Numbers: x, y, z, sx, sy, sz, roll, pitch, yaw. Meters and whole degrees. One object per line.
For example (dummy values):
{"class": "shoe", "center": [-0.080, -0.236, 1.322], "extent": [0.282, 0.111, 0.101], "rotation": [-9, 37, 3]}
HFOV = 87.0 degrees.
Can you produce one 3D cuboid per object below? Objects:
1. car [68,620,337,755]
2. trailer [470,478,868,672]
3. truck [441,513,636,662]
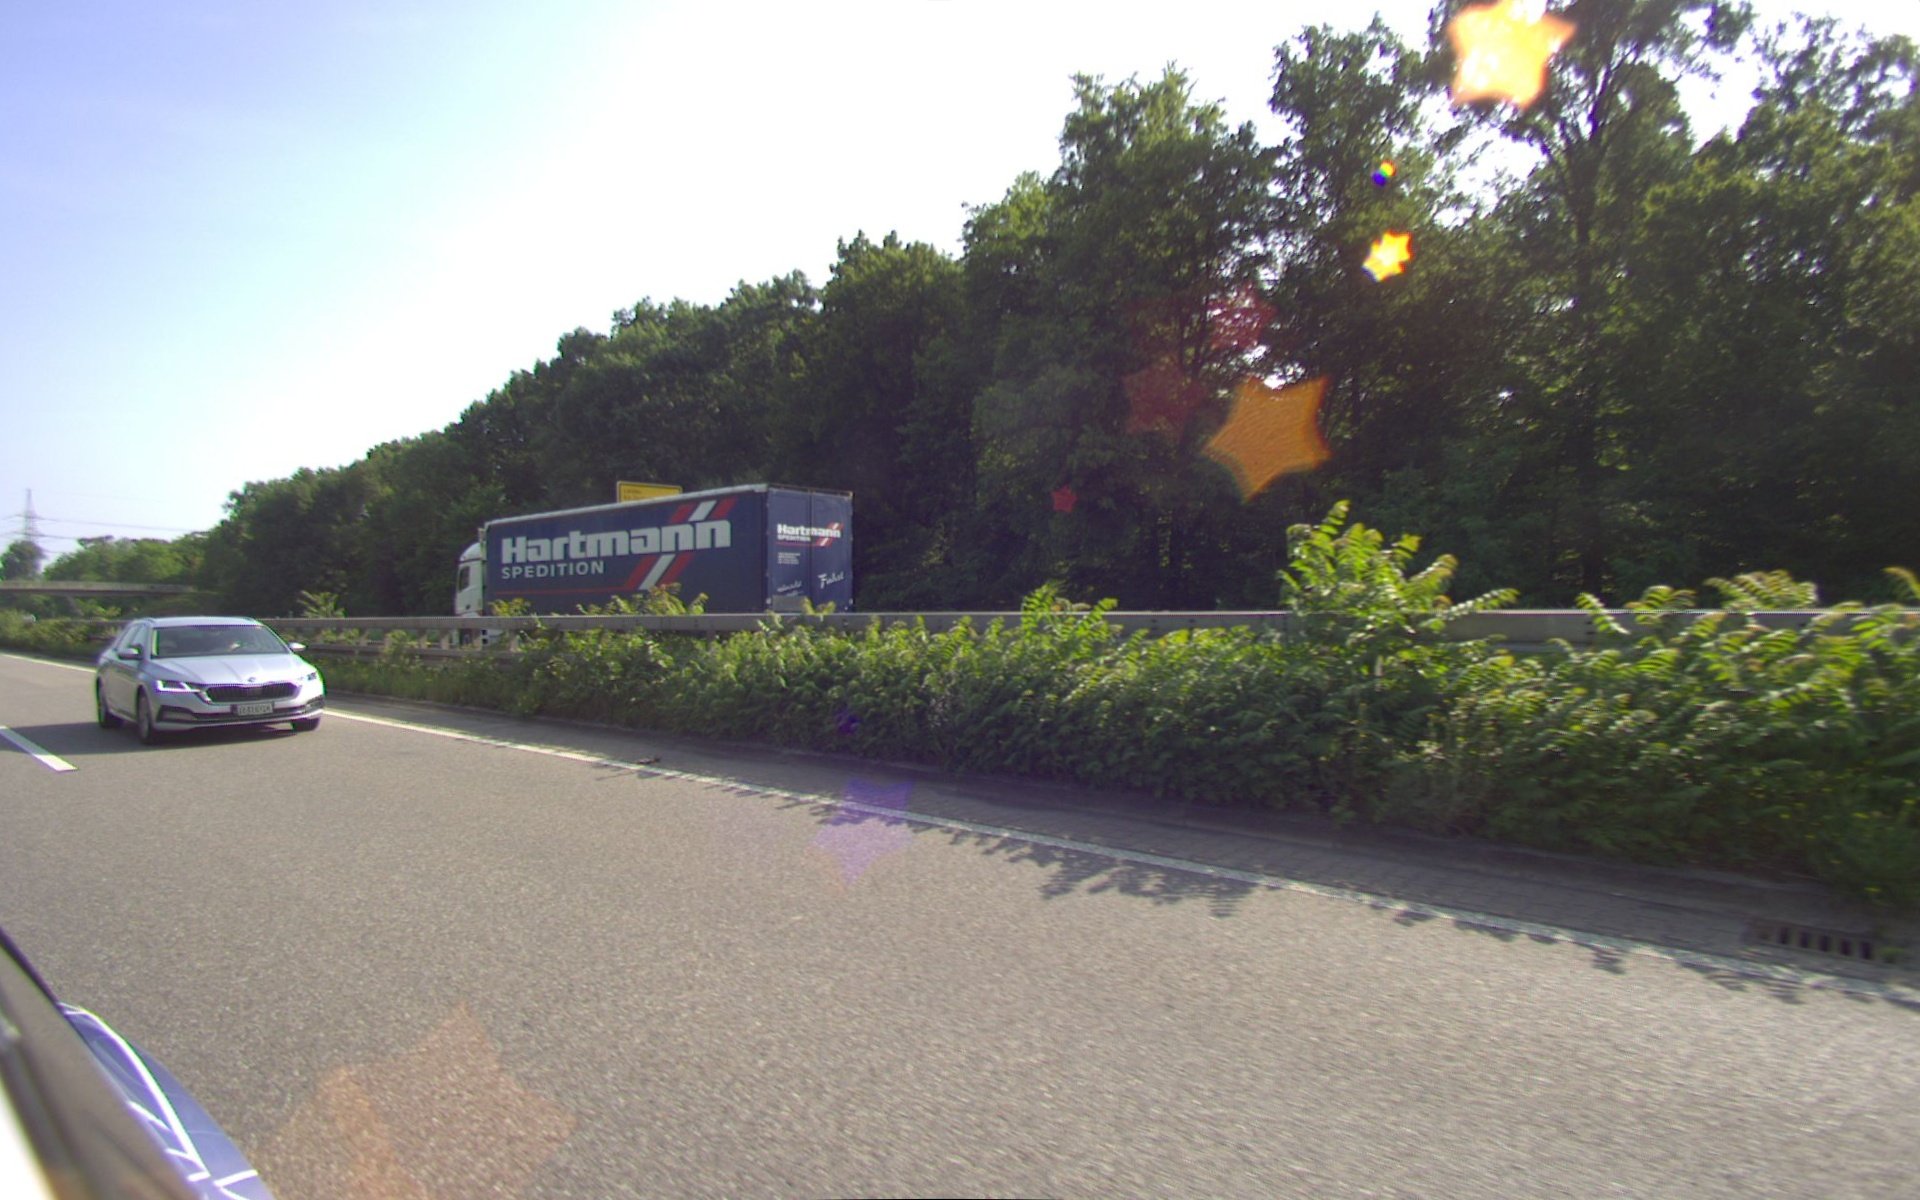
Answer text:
{"class": "car", "center": [-10.136, 1.013, 13.363], "extent": [5.275, 1.449, 1.774], "rotation": [-2, -1, 41]}
{"class": "trailer", "center": [-8.497, -0.370, 27.149], "extent": [14.307, 4.101, 2.935], "rotation": [-2, -2, 41]}
{"class": "truck", "center": [-13.054, -0.247, 31.119], "extent": [6.560, 4.101, 2.936], "rotation": [-2, -2, 41]}
